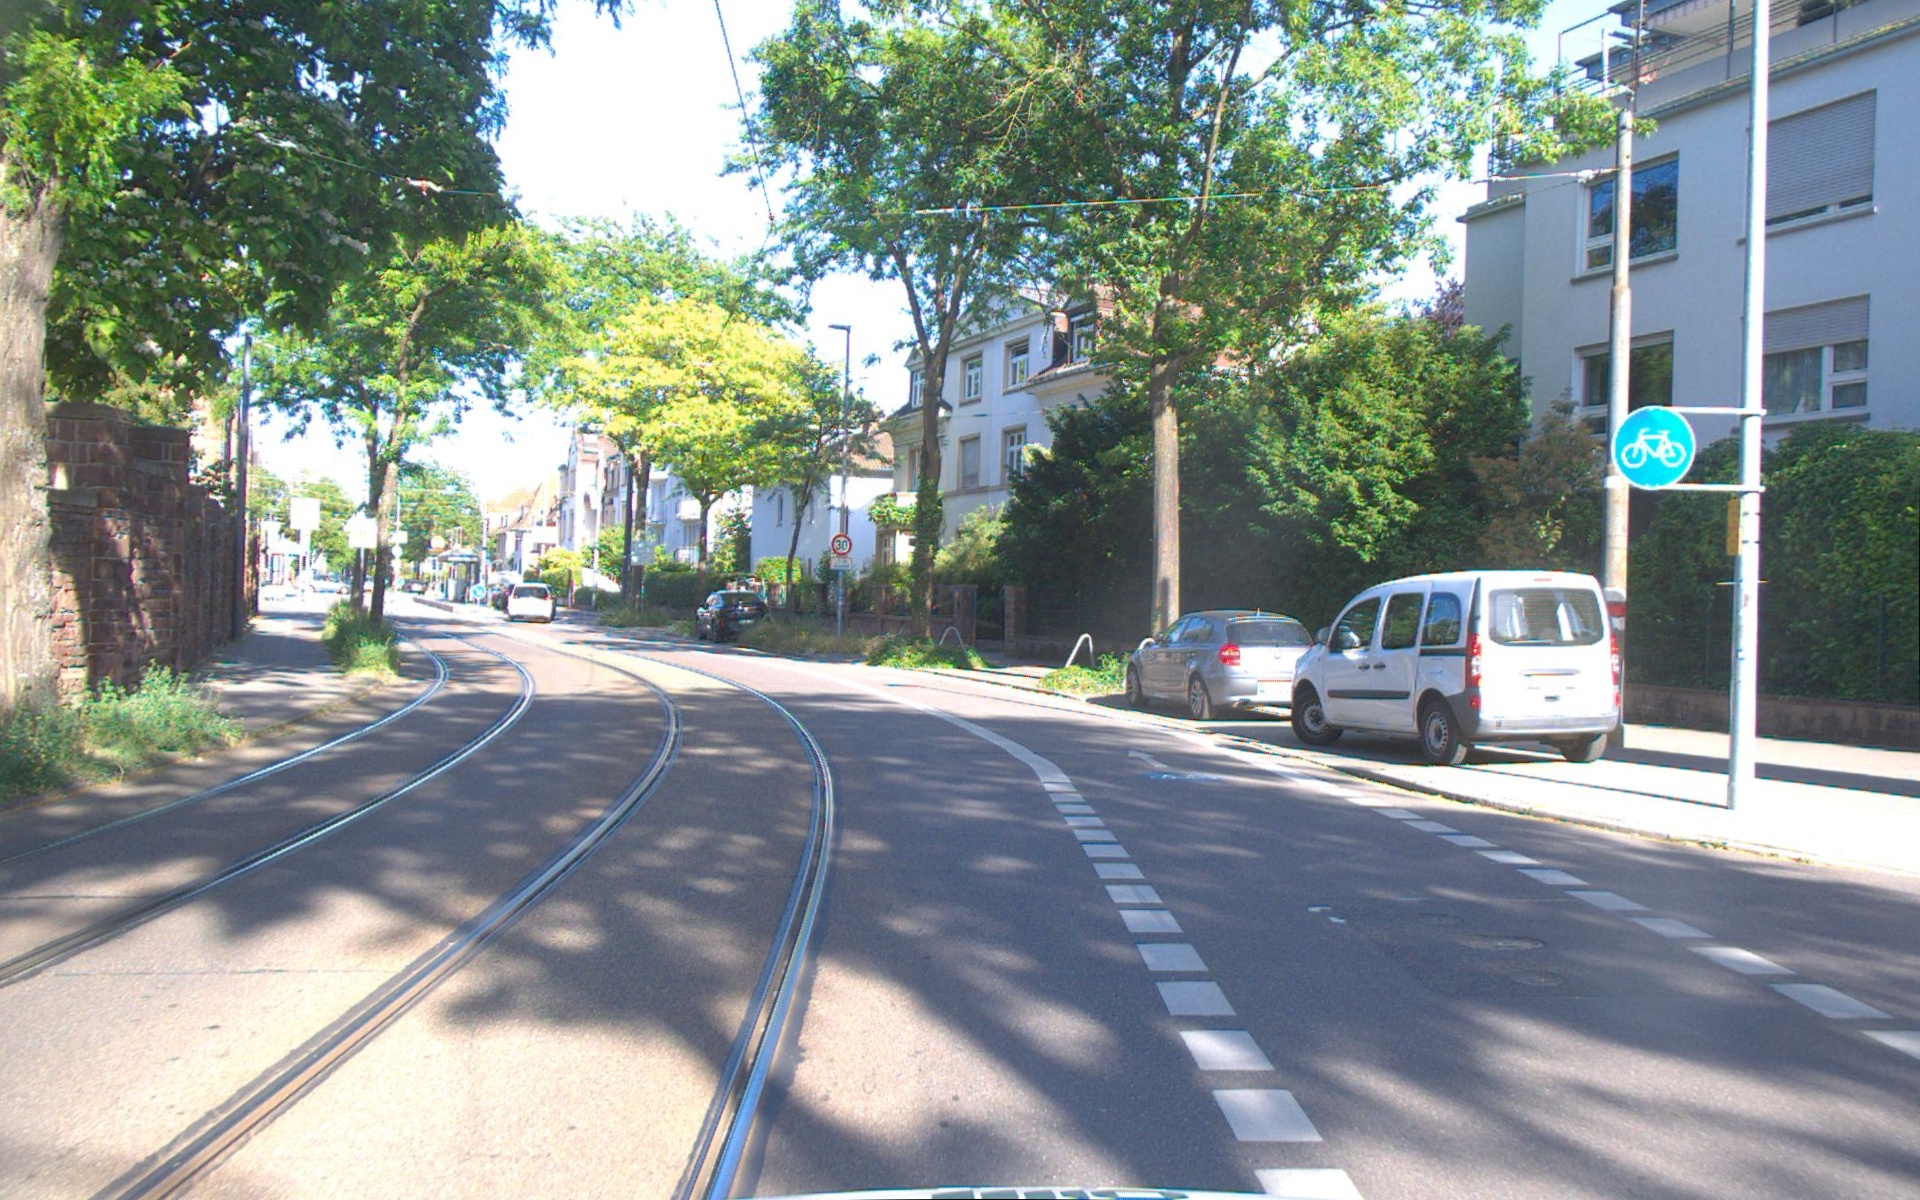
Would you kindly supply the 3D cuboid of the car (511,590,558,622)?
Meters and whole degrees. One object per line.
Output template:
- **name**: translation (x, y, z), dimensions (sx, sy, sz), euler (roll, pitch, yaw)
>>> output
- **car**: translation (-20.530, 0.258, 79.979), dimensions (1.958, 1.468, 3.989), euler (1, 0, -12)

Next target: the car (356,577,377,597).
- **car**: translation (-58.976, -1.257, 164.349), dimensions (1.964, 1.947, 3.976), euler (2, -1, -20)

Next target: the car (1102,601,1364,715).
- **car**: translation (3.703, 0.762, 23.282), dimensions (1.962, 1.448, 4.312), euler (1, -1, -17)

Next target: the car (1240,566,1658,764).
- **car**: translation (4.898, 0.579, 17.413), dimensions (1.990, 1.777, 4.731), euler (1, 0, -16)

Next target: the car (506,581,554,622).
- **car**: translation (-18.476, 0.094, 71.226), dimensions (1.860, 1.639, 4.214), euler (2, -2, -13)

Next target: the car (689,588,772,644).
- **car**: translation (-7.688, 0.482, 55.055), dimensions (1.778, 1.723, 4.701), euler (-2, 1, -20)
